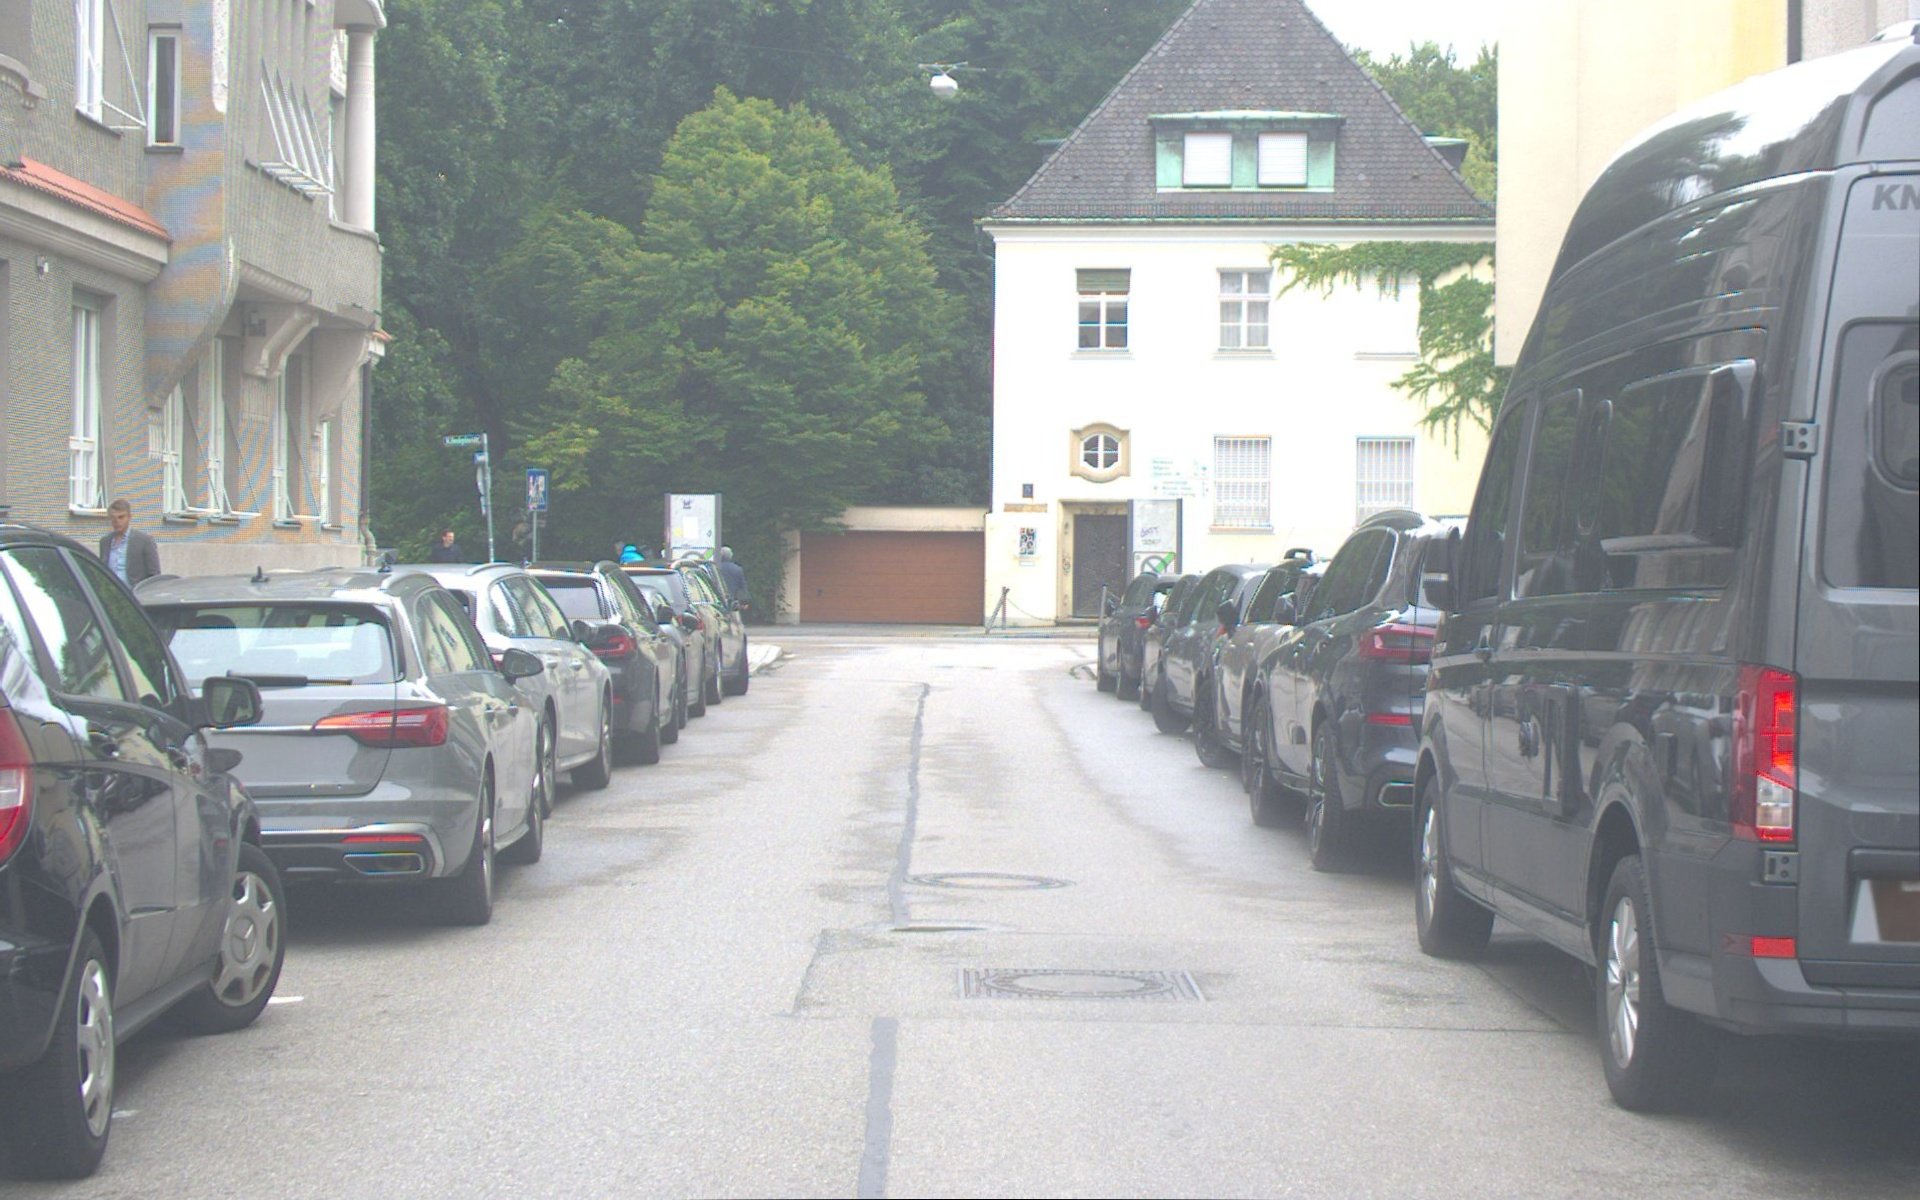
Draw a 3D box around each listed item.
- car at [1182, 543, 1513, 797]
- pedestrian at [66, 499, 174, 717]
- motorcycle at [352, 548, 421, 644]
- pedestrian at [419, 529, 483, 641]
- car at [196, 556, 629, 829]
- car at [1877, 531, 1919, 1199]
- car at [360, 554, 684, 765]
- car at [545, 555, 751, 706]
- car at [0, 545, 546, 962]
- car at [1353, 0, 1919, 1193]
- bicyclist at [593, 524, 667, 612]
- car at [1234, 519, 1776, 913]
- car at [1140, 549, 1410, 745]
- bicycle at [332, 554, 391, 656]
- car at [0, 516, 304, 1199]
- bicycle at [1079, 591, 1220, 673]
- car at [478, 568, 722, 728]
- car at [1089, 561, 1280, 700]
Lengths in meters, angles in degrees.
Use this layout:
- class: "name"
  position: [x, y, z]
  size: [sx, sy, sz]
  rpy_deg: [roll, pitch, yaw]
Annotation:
- class: "car"
  position: [2.588, 0.419, 23.819]
  size: [1.634, 1.586, 3.969]
  rpy_deg: [1, 1, -3]
- class: "pedestrian"
  position: [-7.122, 0.062, 29.163]
  size: [0.716, 1.811, 0.731]
  rpy_deg: [1, 1, -1]
- class: "motorcycle"
  position: [-8.817, -0.078, 52.903]
  size: [0.736, 1.436, 2.147]
  rpy_deg: [1, 1, -2]
- class: "pedestrian"
  position: [-8.202, -0.247, 55.420]
  size: [0.839, 1.781, 0.936]
  rpy_deg: [1, 1, 2]
- class: "car"
  position: [-3.149, 0.471, 20.642]
  size: [1.805, 1.426, 4.439]
  rpy_deg: [-1, 1, 1]
- class: "car"
  position: [2.639, 0.702, 5.698]
  size: [1.542, 1.620, 2.815]
  rpy_deg: [1, 1, 2]
- class: "car"
  position: [-3.206, 0.379, 26.054]
  size: [1.993, 1.443, 4.779]
  rpy_deg: [0, 1, -2]
- class: "car"
  position: [-3.308, 0.279, 37.194]
  size: [1.755, 1.510, 4.708]
  rpy_deg: [0, 1, 0]
- class: "car"
  position: [-2.887, 0.531, 14.957]
  size: [1.837, 1.508, 4.609]
  rpy_deg: [1, 1, -3]
- class: "car"
  position: [2.836, -0.069, 11.086]
  size: [2.254, 2.950, 6.132]
  rpy_deg: [2, 0, -1]
- class: "bicyclist"
  position: [-6.308, -0.617, 65.738]
  size: [1.124, 1.646, 0.986]
  rpy_deg: [1, 1, 14]
- class: "car"
  position: [2.605, 0.479, 17.617]
  size: [1.993, 1.683, 4.674]
  rpy_deg: [2, 1, 0]
- class: "car"
  position: [2.610, 0.350, 29.272]
  size: [1.633, 1.531, 3.856]
  rpy_deg: [1, 1, -4]
- class: "bicycle"
  position: [-8.095, 0.055, 46.530]
  size: [0.618, 1.345, 1.675]
  rpy_deg: [1, 1, -5]
- class: "car"
  position: [-2.926, 0.562, 9.328]
  size: [1.802, 1.567, 3.814]
  rpy_deg: [1, 1, -4]
- class: "bicycle"
  position: [2.588, 0.430, 46.901]
  size: [1.794, 1.082, 0.665]
  rpy_deg: [0, 2, 27]
- class: "car"
  position: [-3.218, 0.392, 31.400]
  size: [1.755, 1.326, 4.096]
  rpy_deg: [0, 1, 0]
- class: "car"
  position: [2.539, 0.309, 39.758]
  size: [1.692, 1.466, 4.611]
  rpy_deg: [1, 1, -2]
